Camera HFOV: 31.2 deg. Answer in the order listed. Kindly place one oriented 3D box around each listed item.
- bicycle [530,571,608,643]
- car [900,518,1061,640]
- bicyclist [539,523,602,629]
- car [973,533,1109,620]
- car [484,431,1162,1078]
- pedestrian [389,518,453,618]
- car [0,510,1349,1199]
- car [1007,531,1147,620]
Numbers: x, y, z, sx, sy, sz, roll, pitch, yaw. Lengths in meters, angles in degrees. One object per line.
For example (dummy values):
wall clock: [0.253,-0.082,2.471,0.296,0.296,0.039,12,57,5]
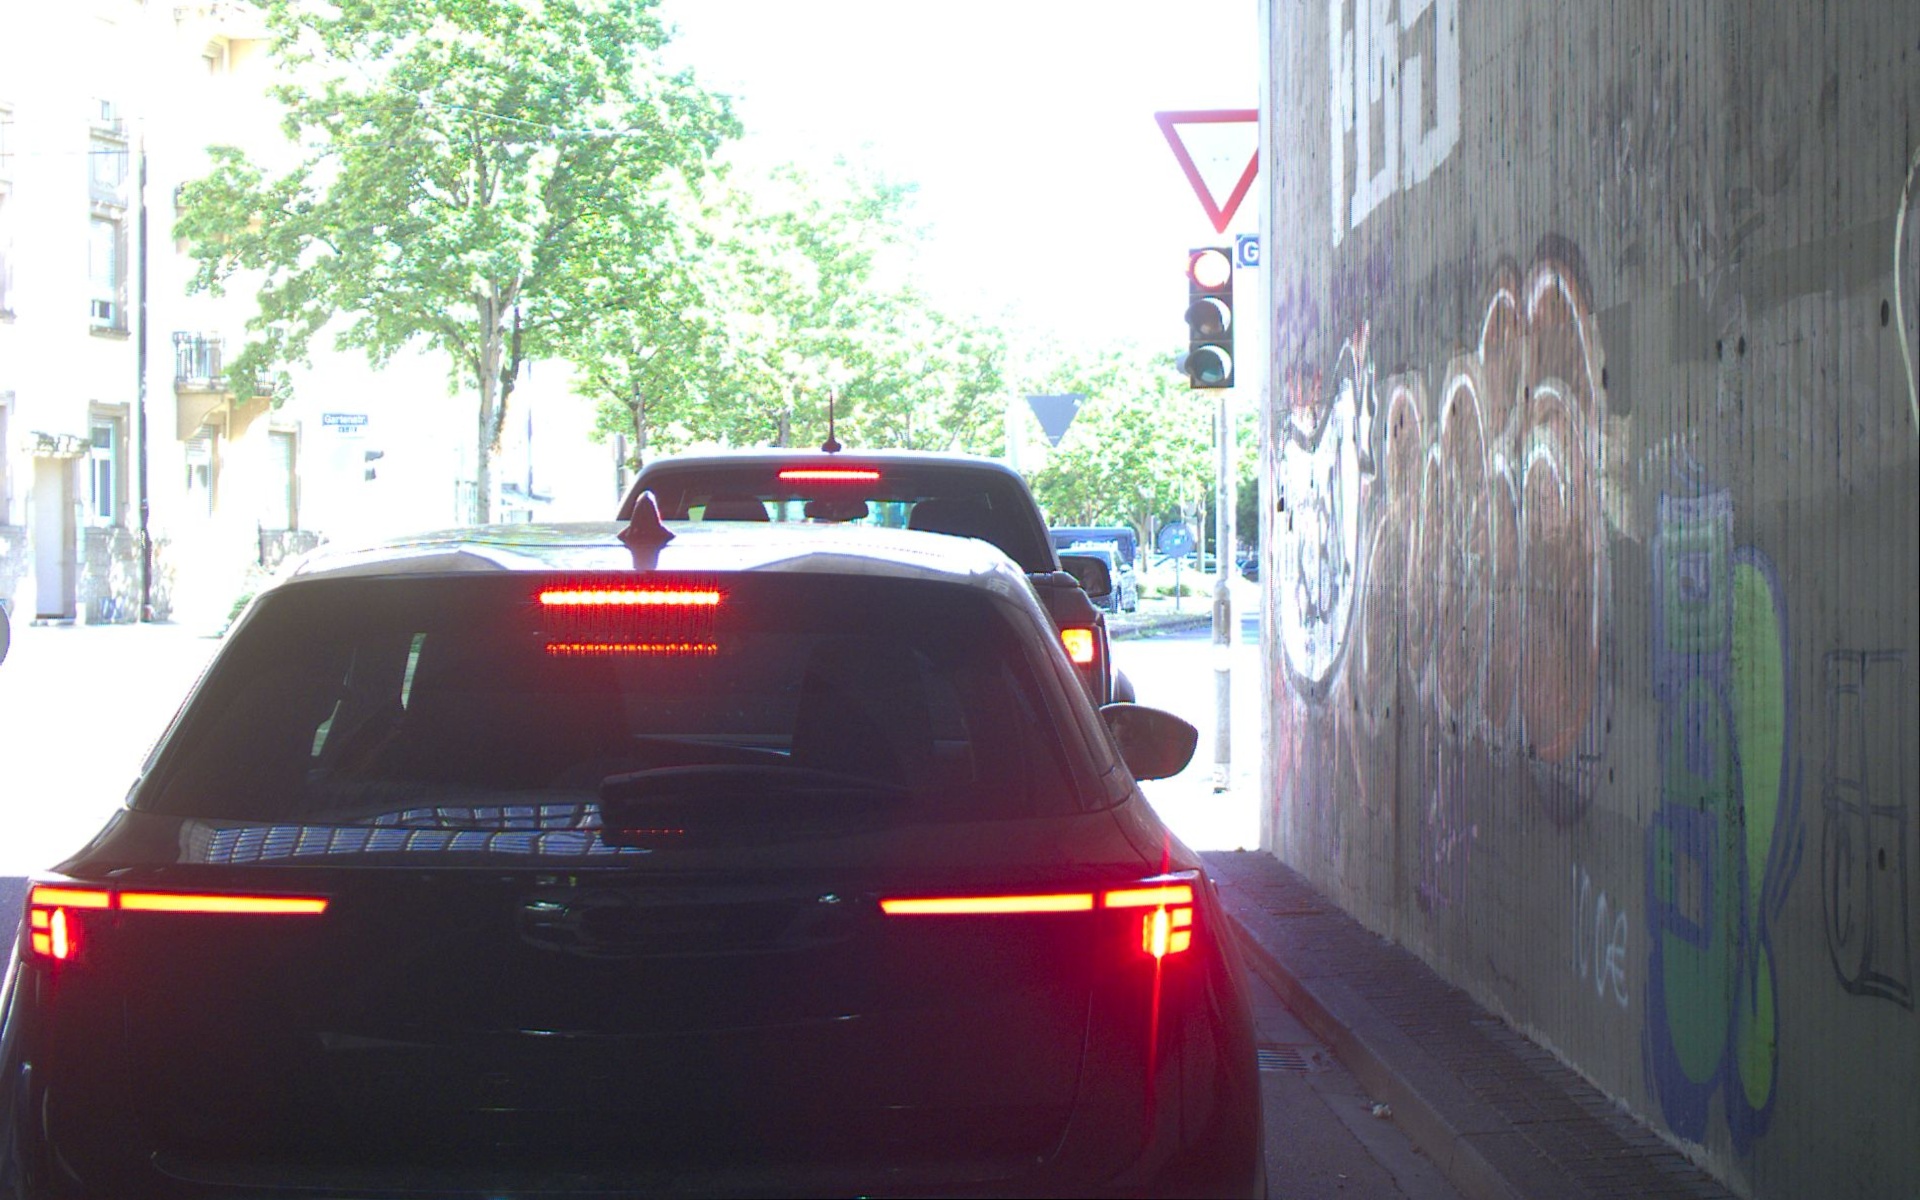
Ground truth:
bicycle: [-5.858,0.096,51.552,0.732,1.064,1.688,1,1,9]
car: [0.296,-0.244,44.210,1.968,1.492,3.896,0,-1,1]
bicyclist: [-5.840,-0.360,51.578,0.729,1.576,0.814,1,0,9]
car: [1.506,-0.400,62.231,1.969,1.492,3.895,0,-1,9]
car: [-0.416,0.409,11.928,1.945,1.853,3.964,-1,1,-1]
pedestrian: [-10.969,-0.653,70.003,0.992,2.007,1.088,0,1,8]
car: [-0.496,0.628,6.107,1.882,1.532,3.964,-1,1,-1]
car: [2.392,-0.458,69.041,2.221,1.713,4.458,0,-1,10]
